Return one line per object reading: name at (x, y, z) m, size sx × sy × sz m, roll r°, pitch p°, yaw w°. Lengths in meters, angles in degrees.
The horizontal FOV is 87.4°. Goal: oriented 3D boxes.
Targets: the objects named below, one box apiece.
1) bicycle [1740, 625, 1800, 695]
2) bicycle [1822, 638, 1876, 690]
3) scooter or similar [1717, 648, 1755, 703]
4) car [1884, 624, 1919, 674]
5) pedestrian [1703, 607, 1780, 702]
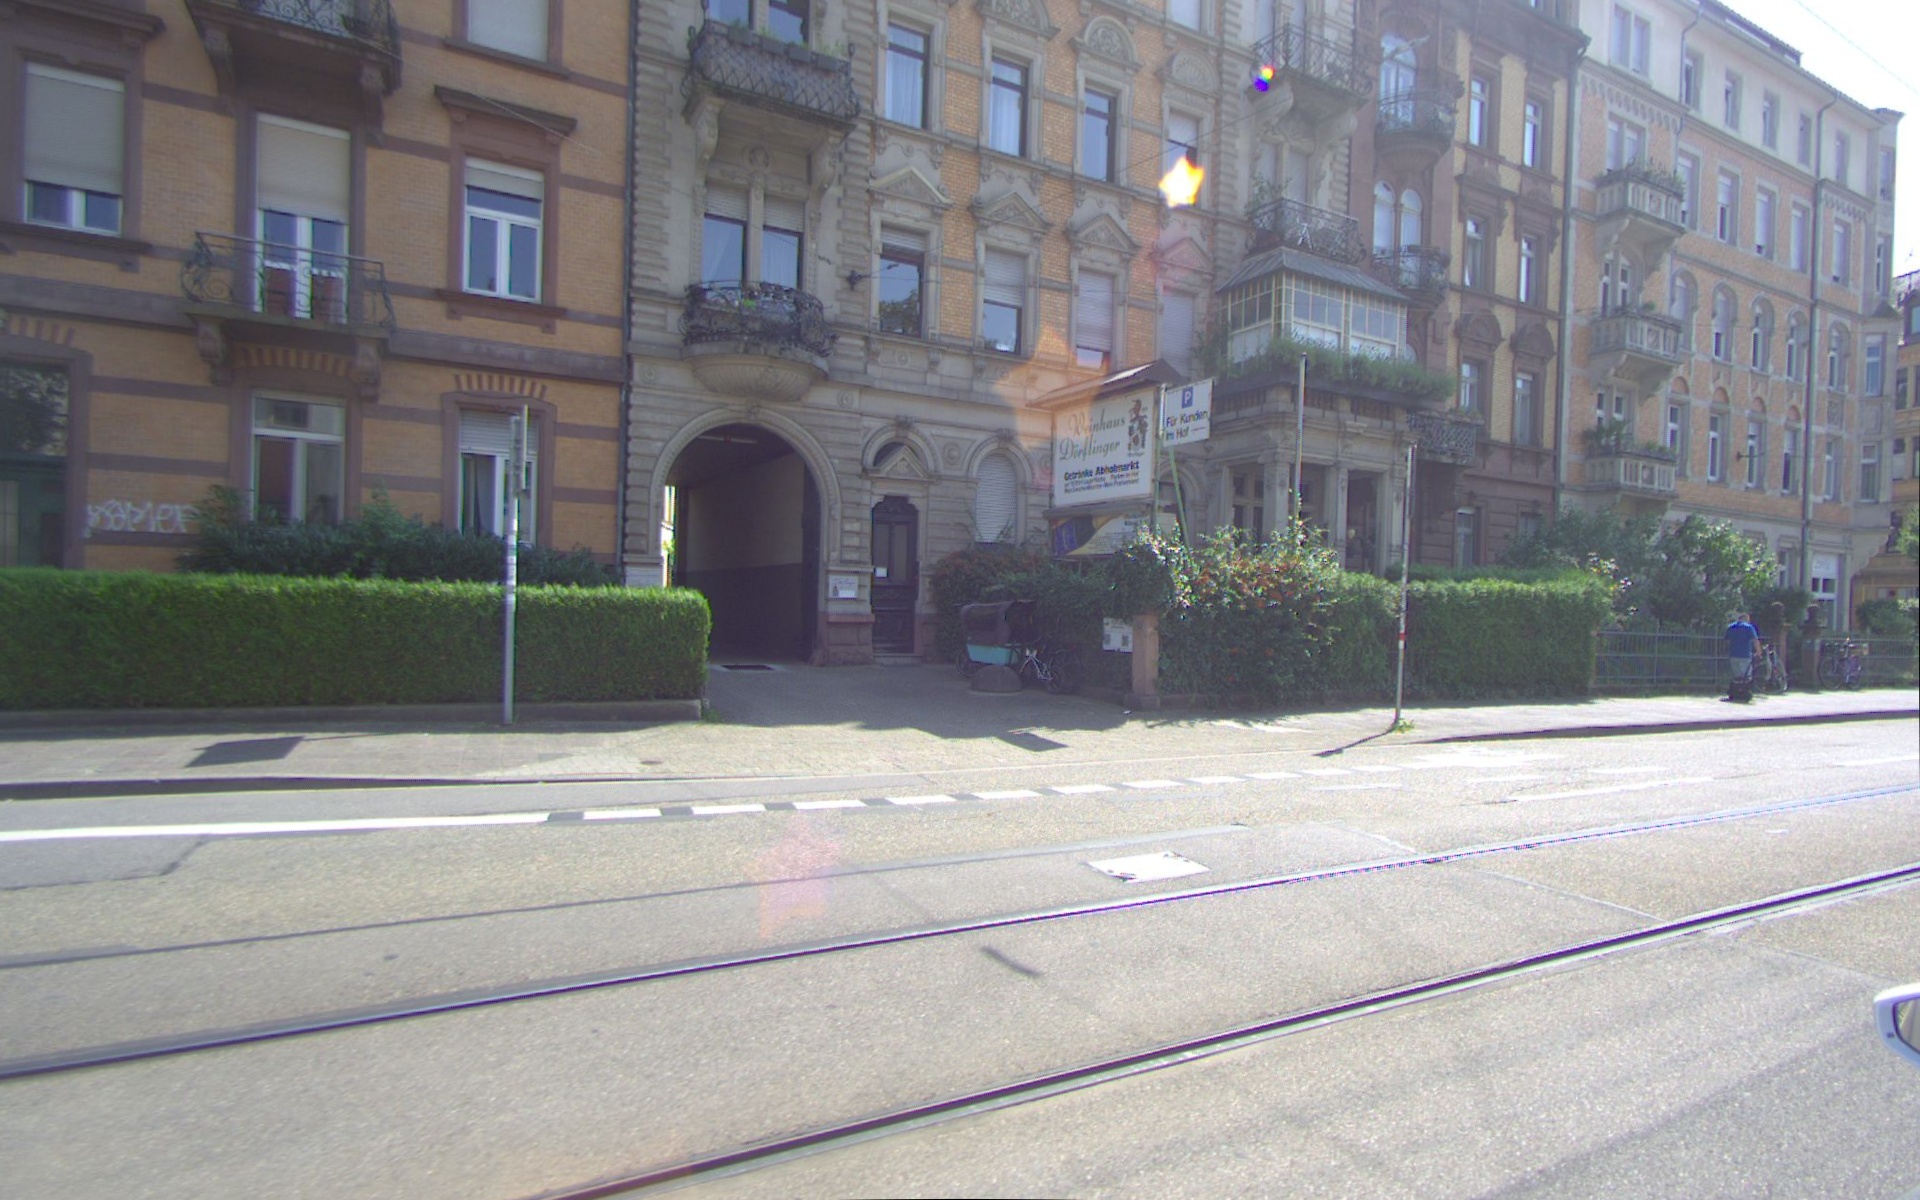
bicycle at (17.198, 1.260, 21.321) m, size 1.562 × 1.425 × 0.388 m, roll 1°, pitch 1°, yaw -28°
bicycle at (20.423, 1.458, 23.074) m, size 1.562 × 1.163 × 0.388 m, roll 1°, pitch 1°, yaw -28°
scooter or similar at (14.716, 1.417, 19.049) m, size 0.579 × 0.995 × 0.397 m, roll 2°, pitch 1°, yaw -37°
car at (33.736, 1.739, 33.333) m, size 1.854 × 1.616 × 4.087 m, roll 2°, pitch 1°, yaw -26°
pedestrian at (15.224, 1.046, 19.581) m, size 0.859 × 1.779 × 0.879 m, roll 1°, pitch 0°, yaw -28°
